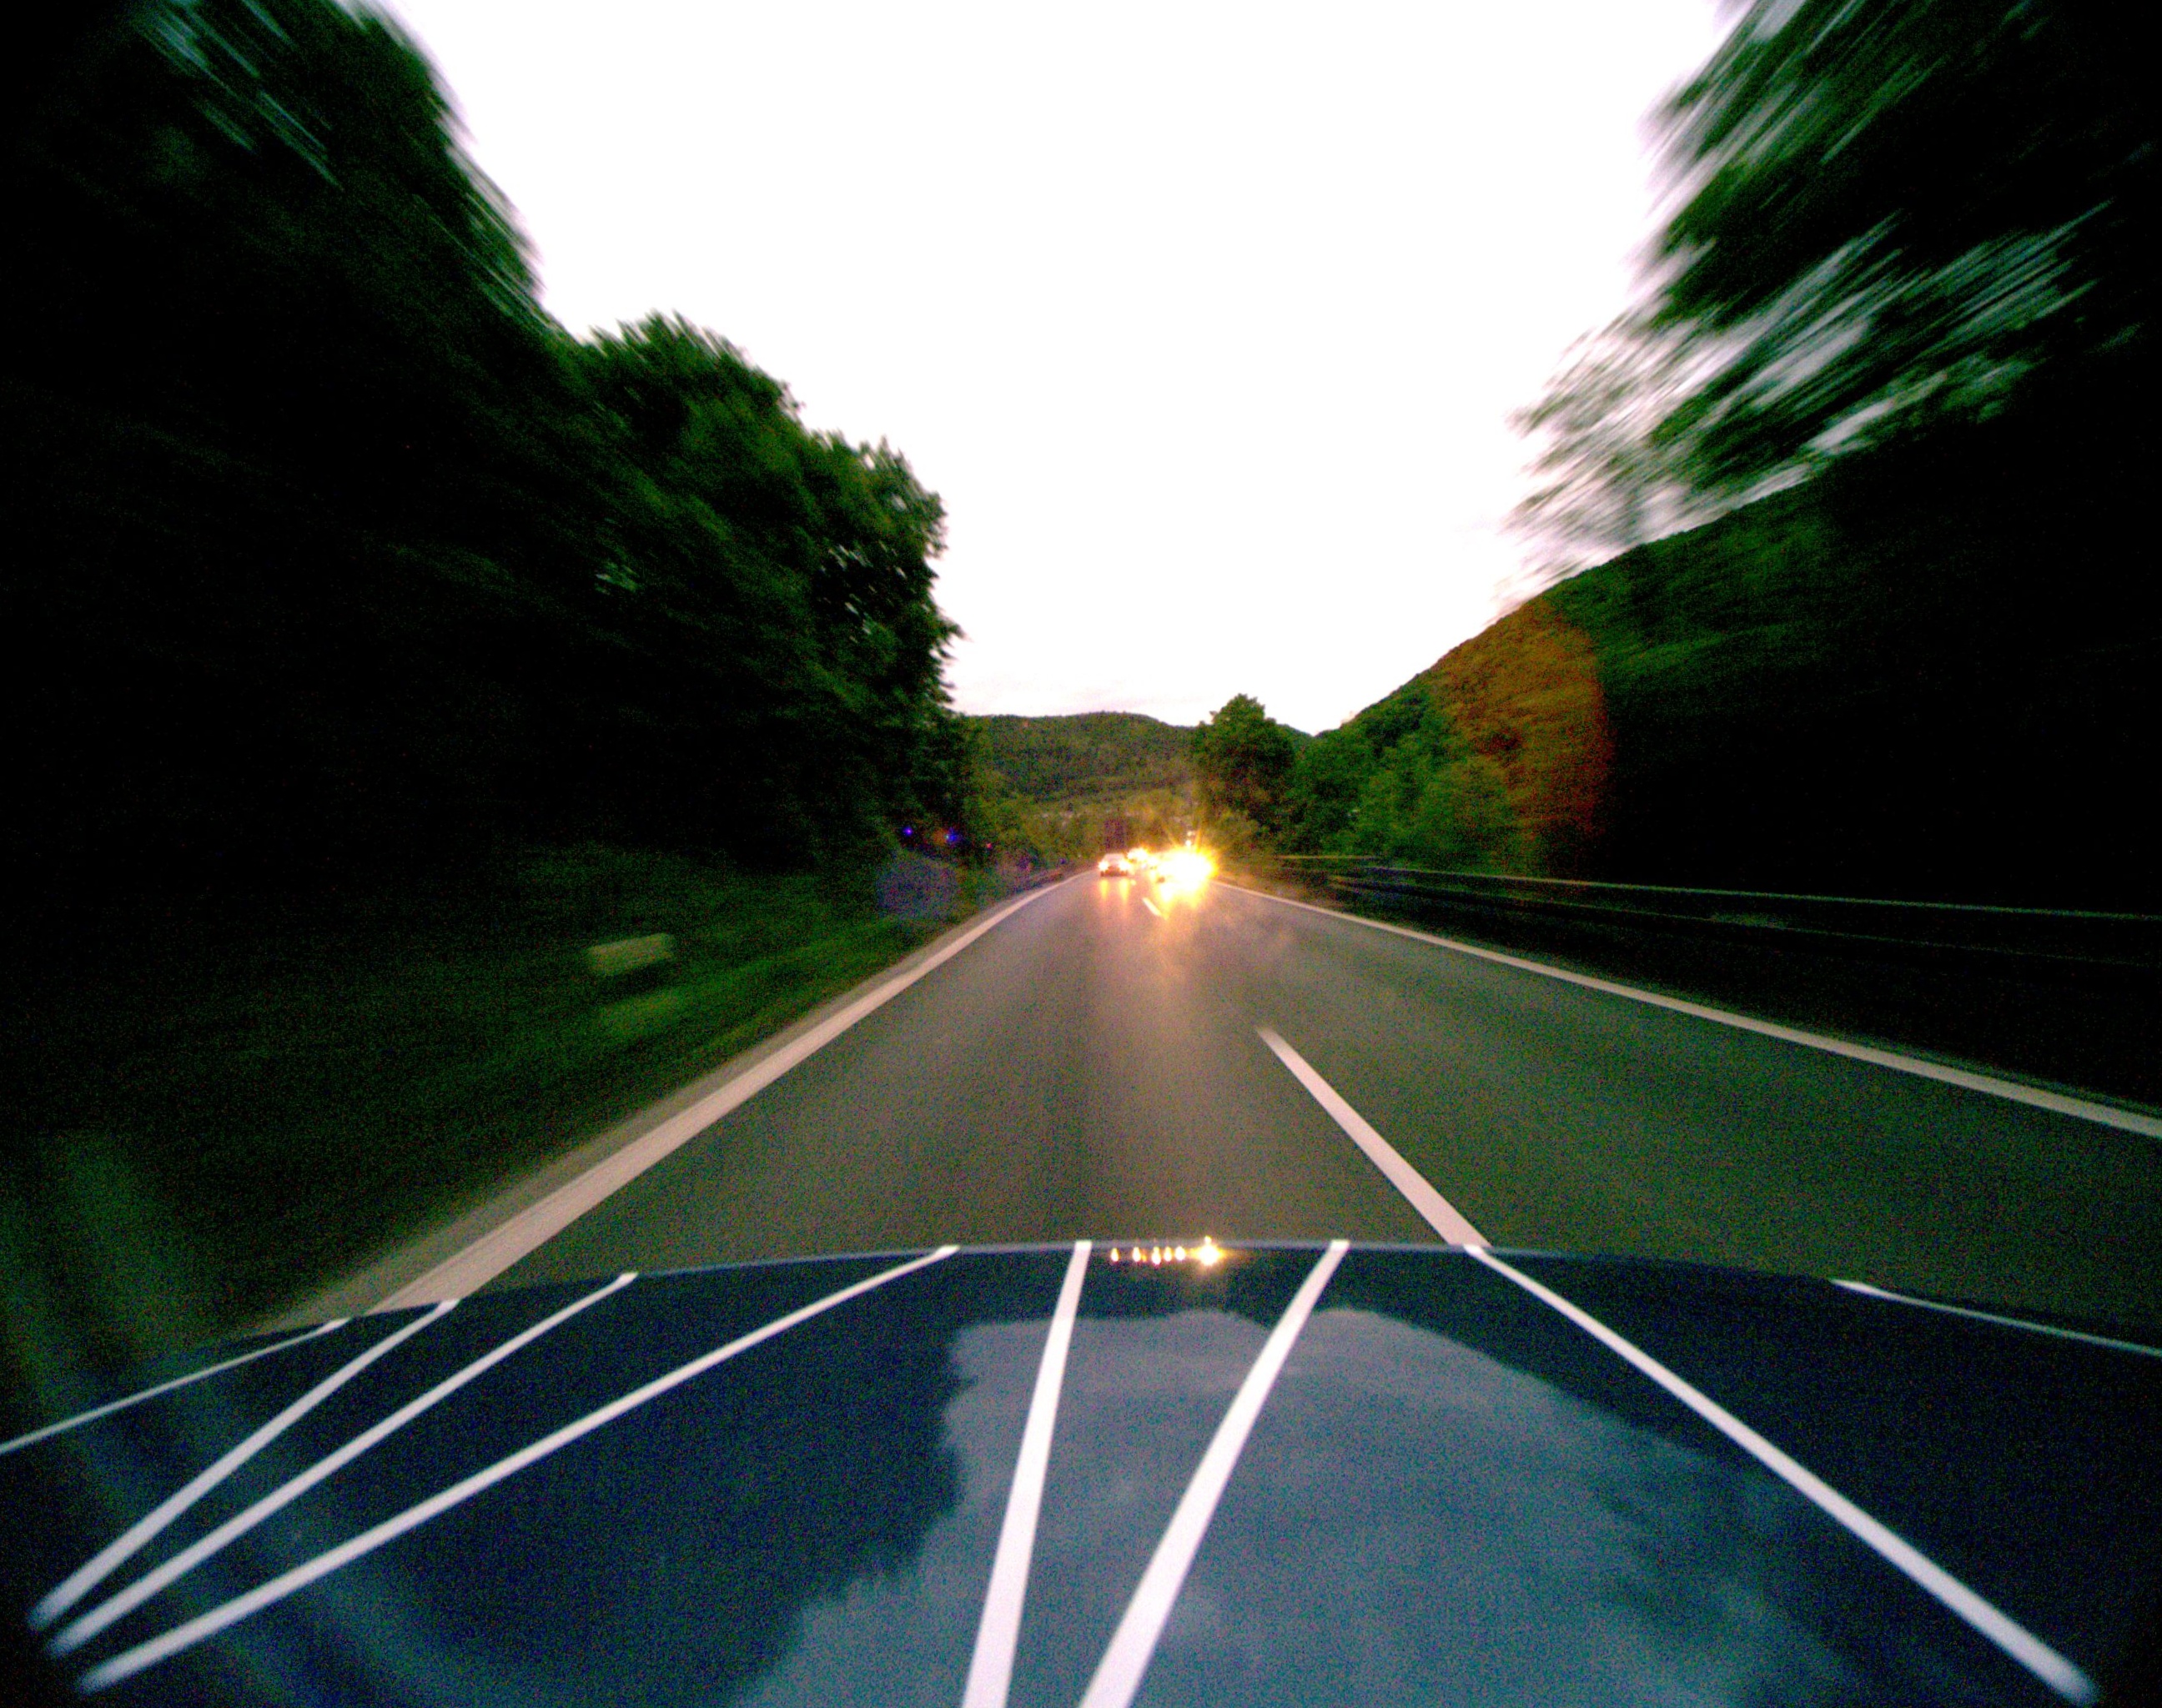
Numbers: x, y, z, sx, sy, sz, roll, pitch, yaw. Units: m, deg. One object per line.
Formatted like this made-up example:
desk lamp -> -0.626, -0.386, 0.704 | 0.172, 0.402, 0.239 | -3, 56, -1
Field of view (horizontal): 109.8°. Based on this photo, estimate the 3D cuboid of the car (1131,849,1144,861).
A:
car -> 7.905, 0.099, 106.333 | 1.737, 1.641, 3.669 | -2, 1, 3

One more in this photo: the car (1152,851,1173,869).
car -> 7.225, 0.527, 67.661 | 1.690, 1.425, 3.669 | -2, 1, 3

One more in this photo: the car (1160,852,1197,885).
car -> 4.832, 0.684, 38.147 | 1.689, 1.460, 3.769 | -2, 1, 5

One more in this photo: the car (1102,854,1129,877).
car -> 2.297, 0.745, 51.178 | 1.690, 1.443, 3.669 | -2, 1, 2
